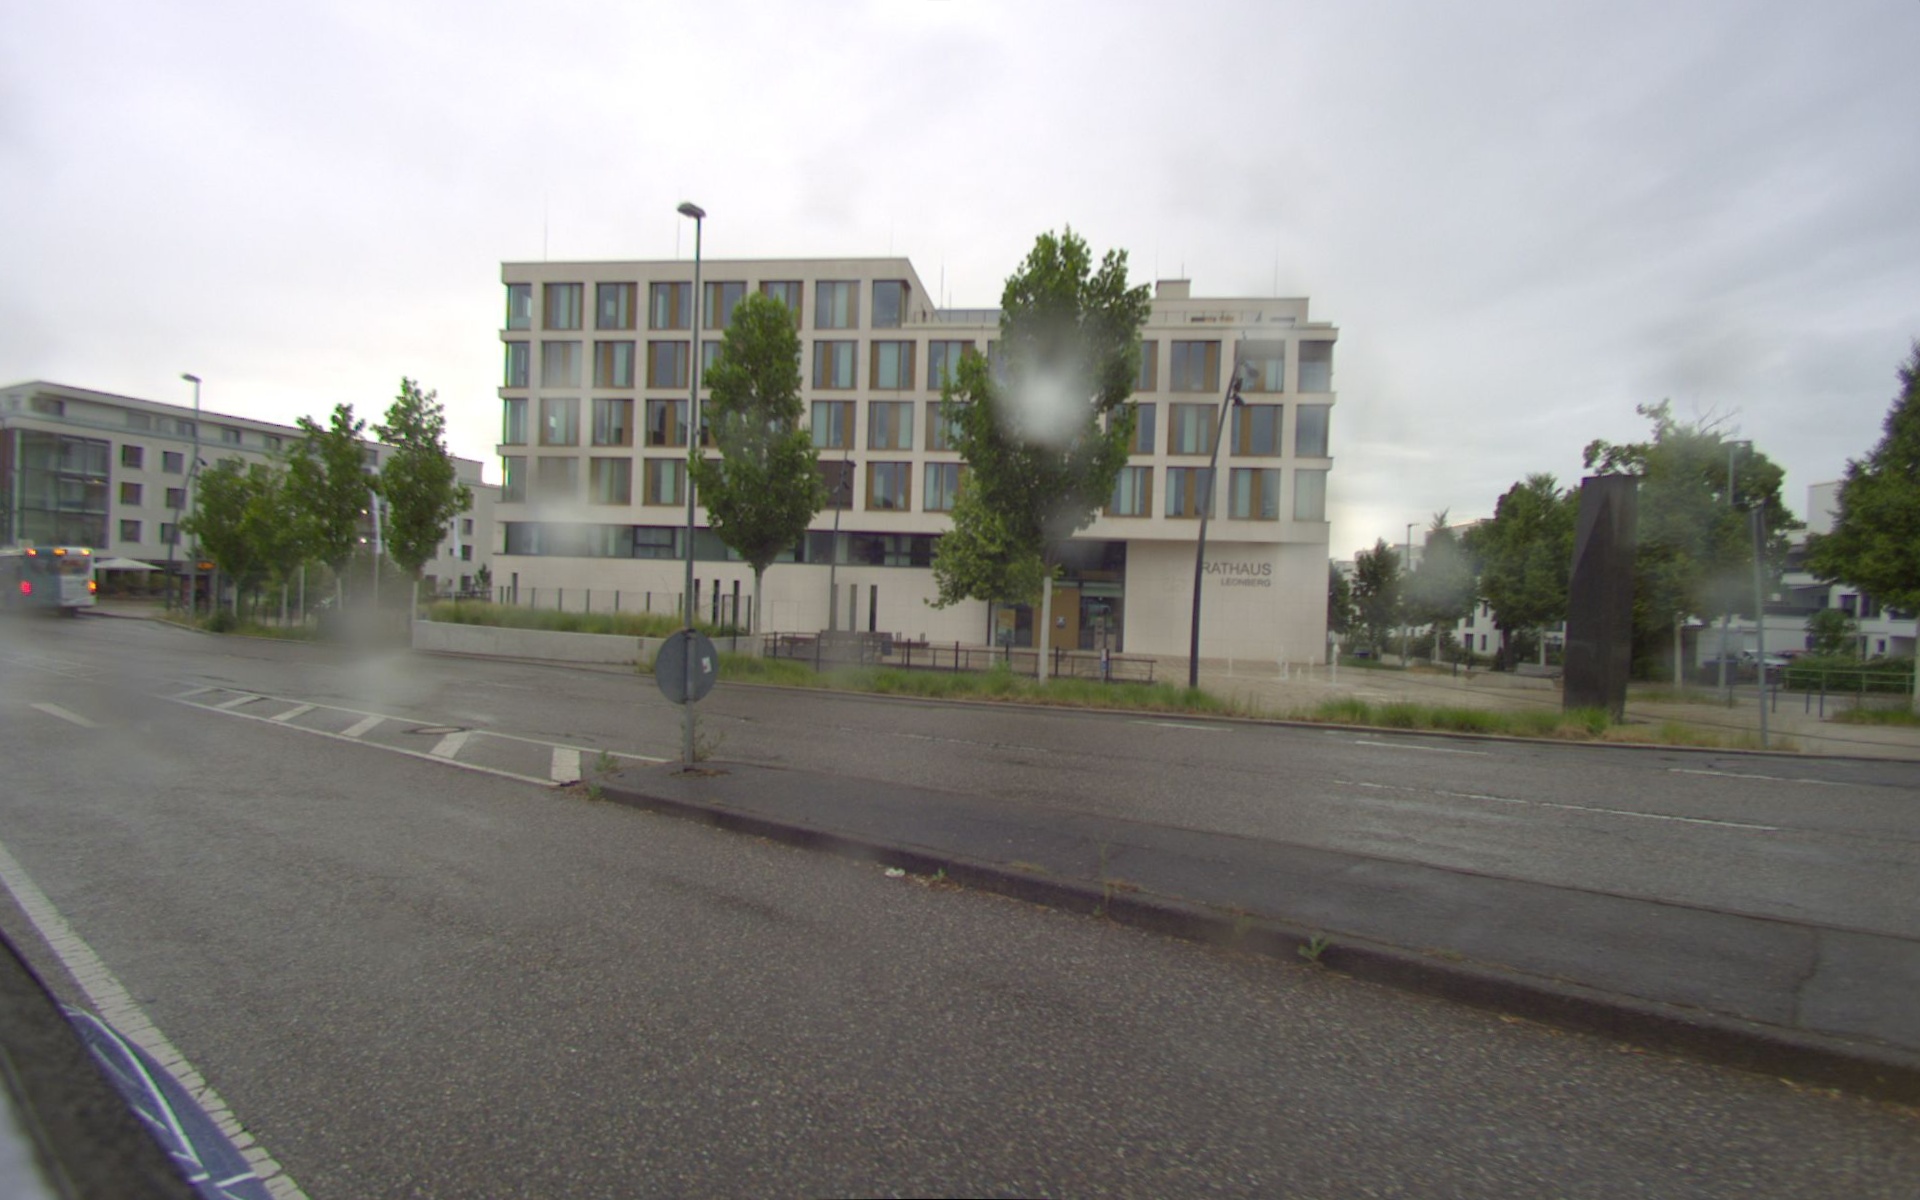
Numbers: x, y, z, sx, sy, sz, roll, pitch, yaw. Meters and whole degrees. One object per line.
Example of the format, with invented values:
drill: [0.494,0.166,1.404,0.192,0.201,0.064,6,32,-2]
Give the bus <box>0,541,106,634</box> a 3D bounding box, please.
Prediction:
bus: [-47.915,-0.499,50.885,18.187,4.025,2.918,0,-3,35]

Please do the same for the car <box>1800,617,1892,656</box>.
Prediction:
car: [50.854,2.060,58.202,1.766,2.029,3.999,0,0,0]

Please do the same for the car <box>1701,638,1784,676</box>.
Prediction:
car: [46.019,3.319,59.649,1.766,2.029,3.999,0,0,0]
